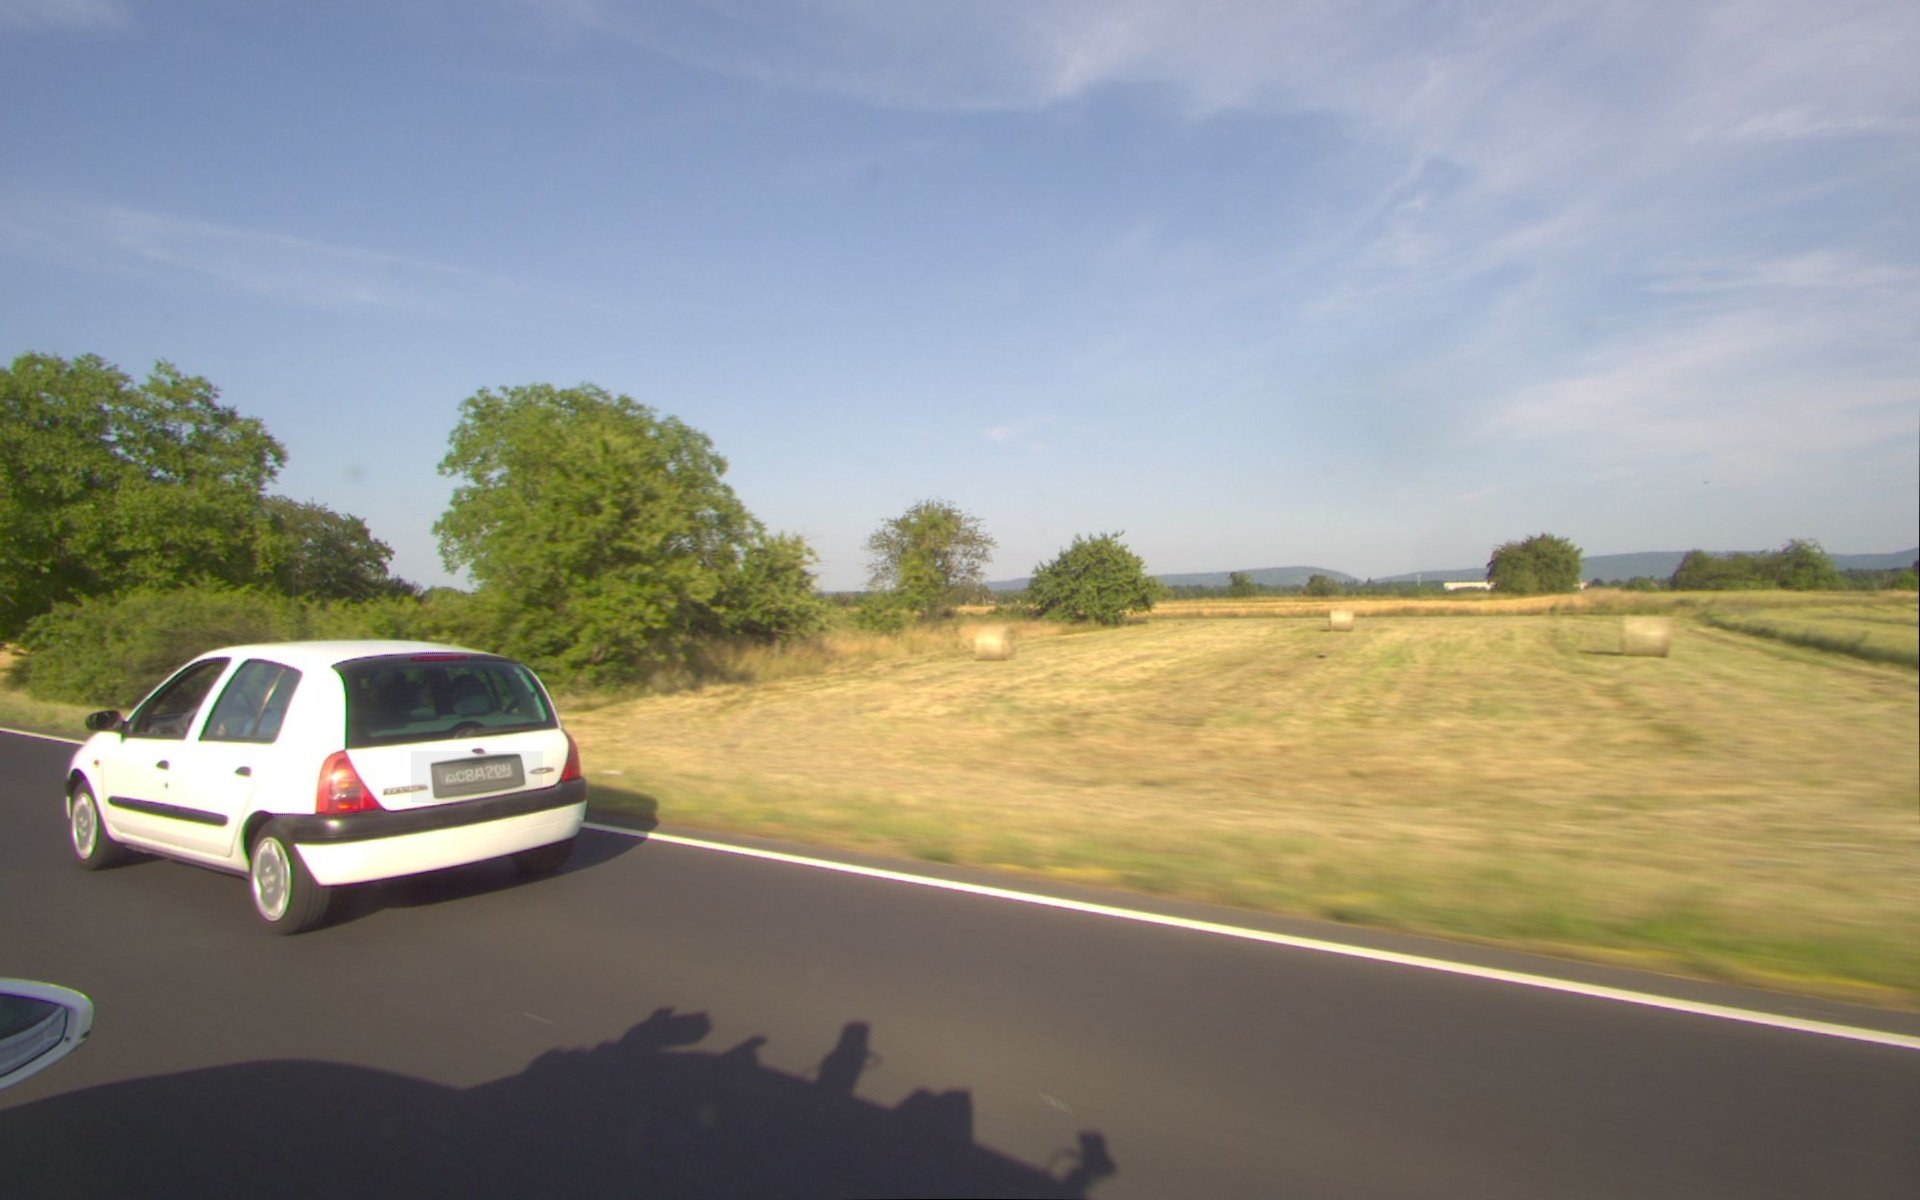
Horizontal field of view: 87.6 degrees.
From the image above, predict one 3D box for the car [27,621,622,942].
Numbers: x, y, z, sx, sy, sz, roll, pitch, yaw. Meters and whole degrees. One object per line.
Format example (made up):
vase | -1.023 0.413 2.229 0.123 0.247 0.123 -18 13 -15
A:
car | -4.006 0.864 6.141 3.896 1.405 1.614 -2 -2 33
